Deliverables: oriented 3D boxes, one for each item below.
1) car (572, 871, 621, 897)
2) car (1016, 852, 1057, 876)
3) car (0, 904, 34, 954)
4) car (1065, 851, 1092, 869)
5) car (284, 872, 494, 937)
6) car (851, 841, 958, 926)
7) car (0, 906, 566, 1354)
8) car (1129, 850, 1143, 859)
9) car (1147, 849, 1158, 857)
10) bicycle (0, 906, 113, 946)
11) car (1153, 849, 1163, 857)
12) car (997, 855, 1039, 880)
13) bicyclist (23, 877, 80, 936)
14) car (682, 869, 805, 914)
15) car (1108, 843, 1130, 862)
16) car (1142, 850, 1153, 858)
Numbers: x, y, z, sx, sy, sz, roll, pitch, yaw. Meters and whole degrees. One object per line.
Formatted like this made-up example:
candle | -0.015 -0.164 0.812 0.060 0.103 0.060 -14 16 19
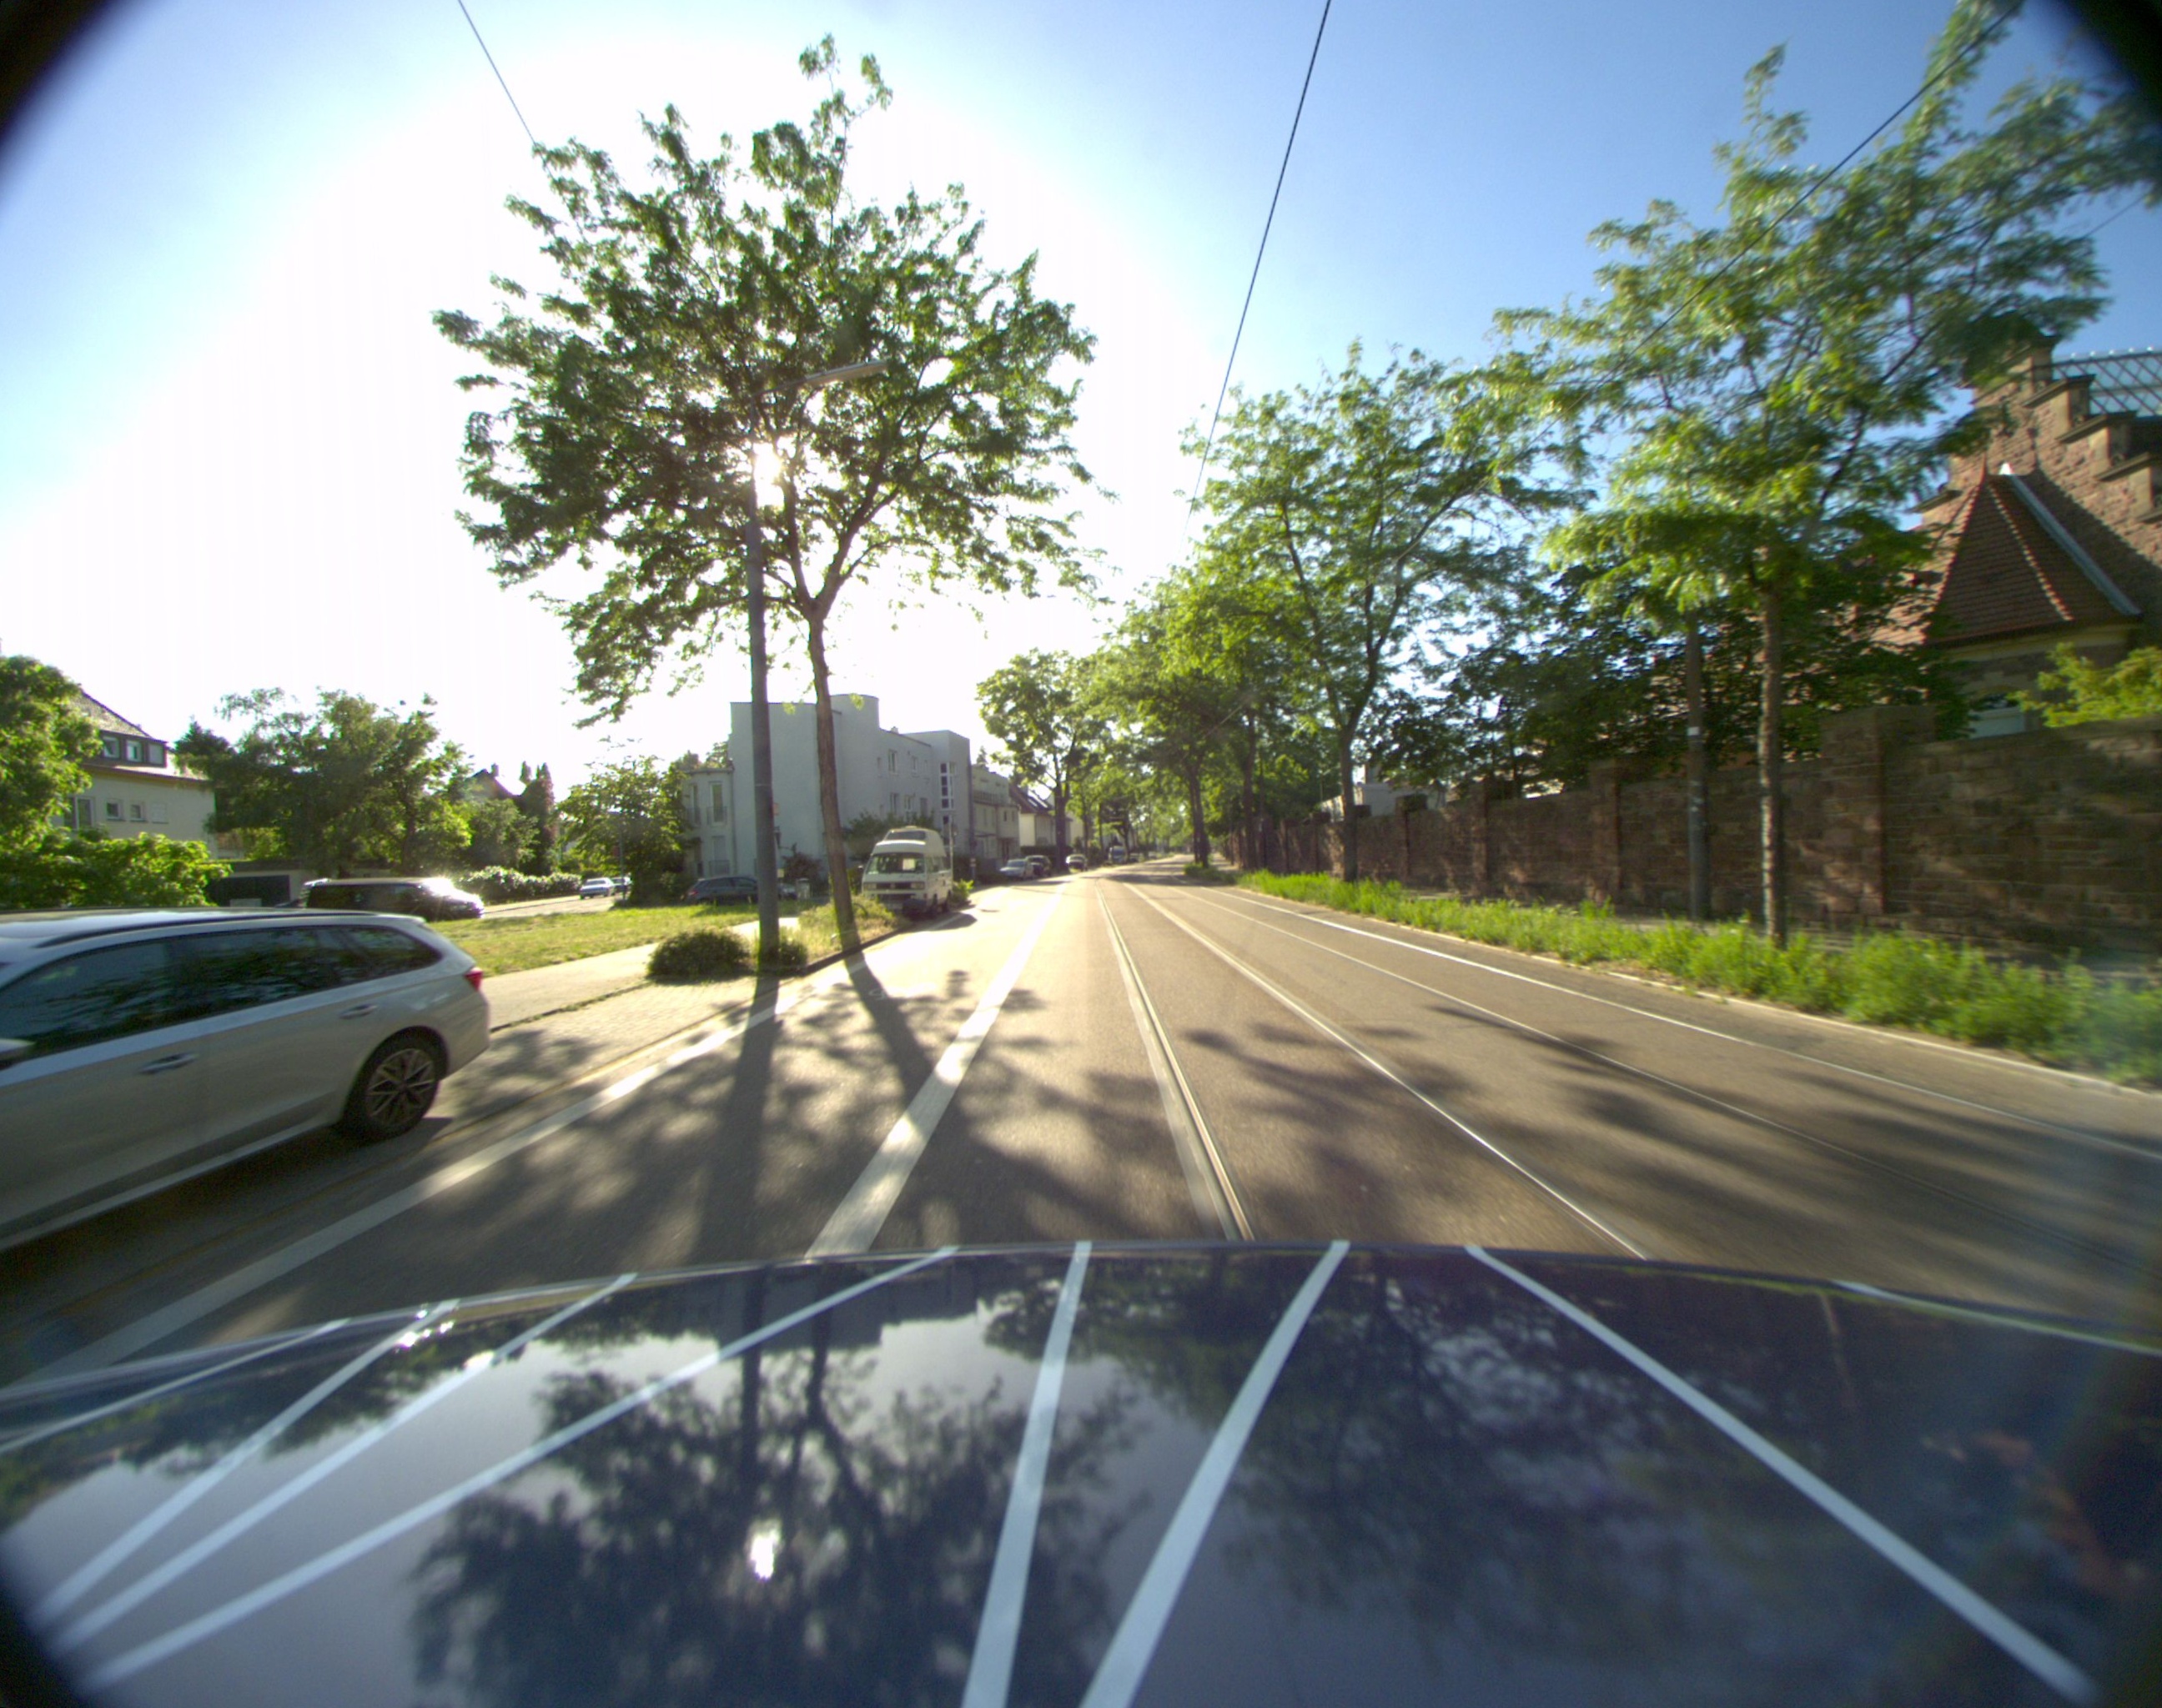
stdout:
car | -36.314 2.213 57.017 2.001 1.756 4.263 -2 0 -18
car | -3.336 0.739 58.098 1.997 1.607 4.604 -1 1 11
car | -37.387 2.548 24.301 4.231 1.583 1.997 -2 1 -15
car | -0.226 0.571 75.289 1.879 1.509 4.651 -3 1 8
car | -25.287 1.797 28.038 5.216 1.874 2.097 -4 1 -17
car | -4.900 0.752 21.842 1.999 2.083 4.715 -2 0 -1
car | -5.210 1.199 3.526 2.006 1.457 5.432 1 1 -1
car | 9.264 0.089 128.164 1.662 1.527 4.004 -2 0 14
car | 15.176 -0.271 161.166 1.997 1.474 4.003 -2 0 10
bicycle | -36.706 2.550 27.065 2.667 1.224 0.798 -2 0 -24
car | 17.571 -0.198 172.910 1.997 1.411 4.001 -2 3 10
car | -4.267 0.905 52.423 1.741 1.487 4.532 -3 1 10
bicyclist | -36.667 1.862 27.076 0.851 2.002 0.824 -3 1 -24
car | -14.004 1.518 31.843 4.466 1.482 2.005 -2 4 -18
car | 5.428 -0.237 107.141 2.295 2.575 5.722 -3 1 10
car | 13.305 -0.030 151.937 1.787 1.368 3.657 -3 1 10
